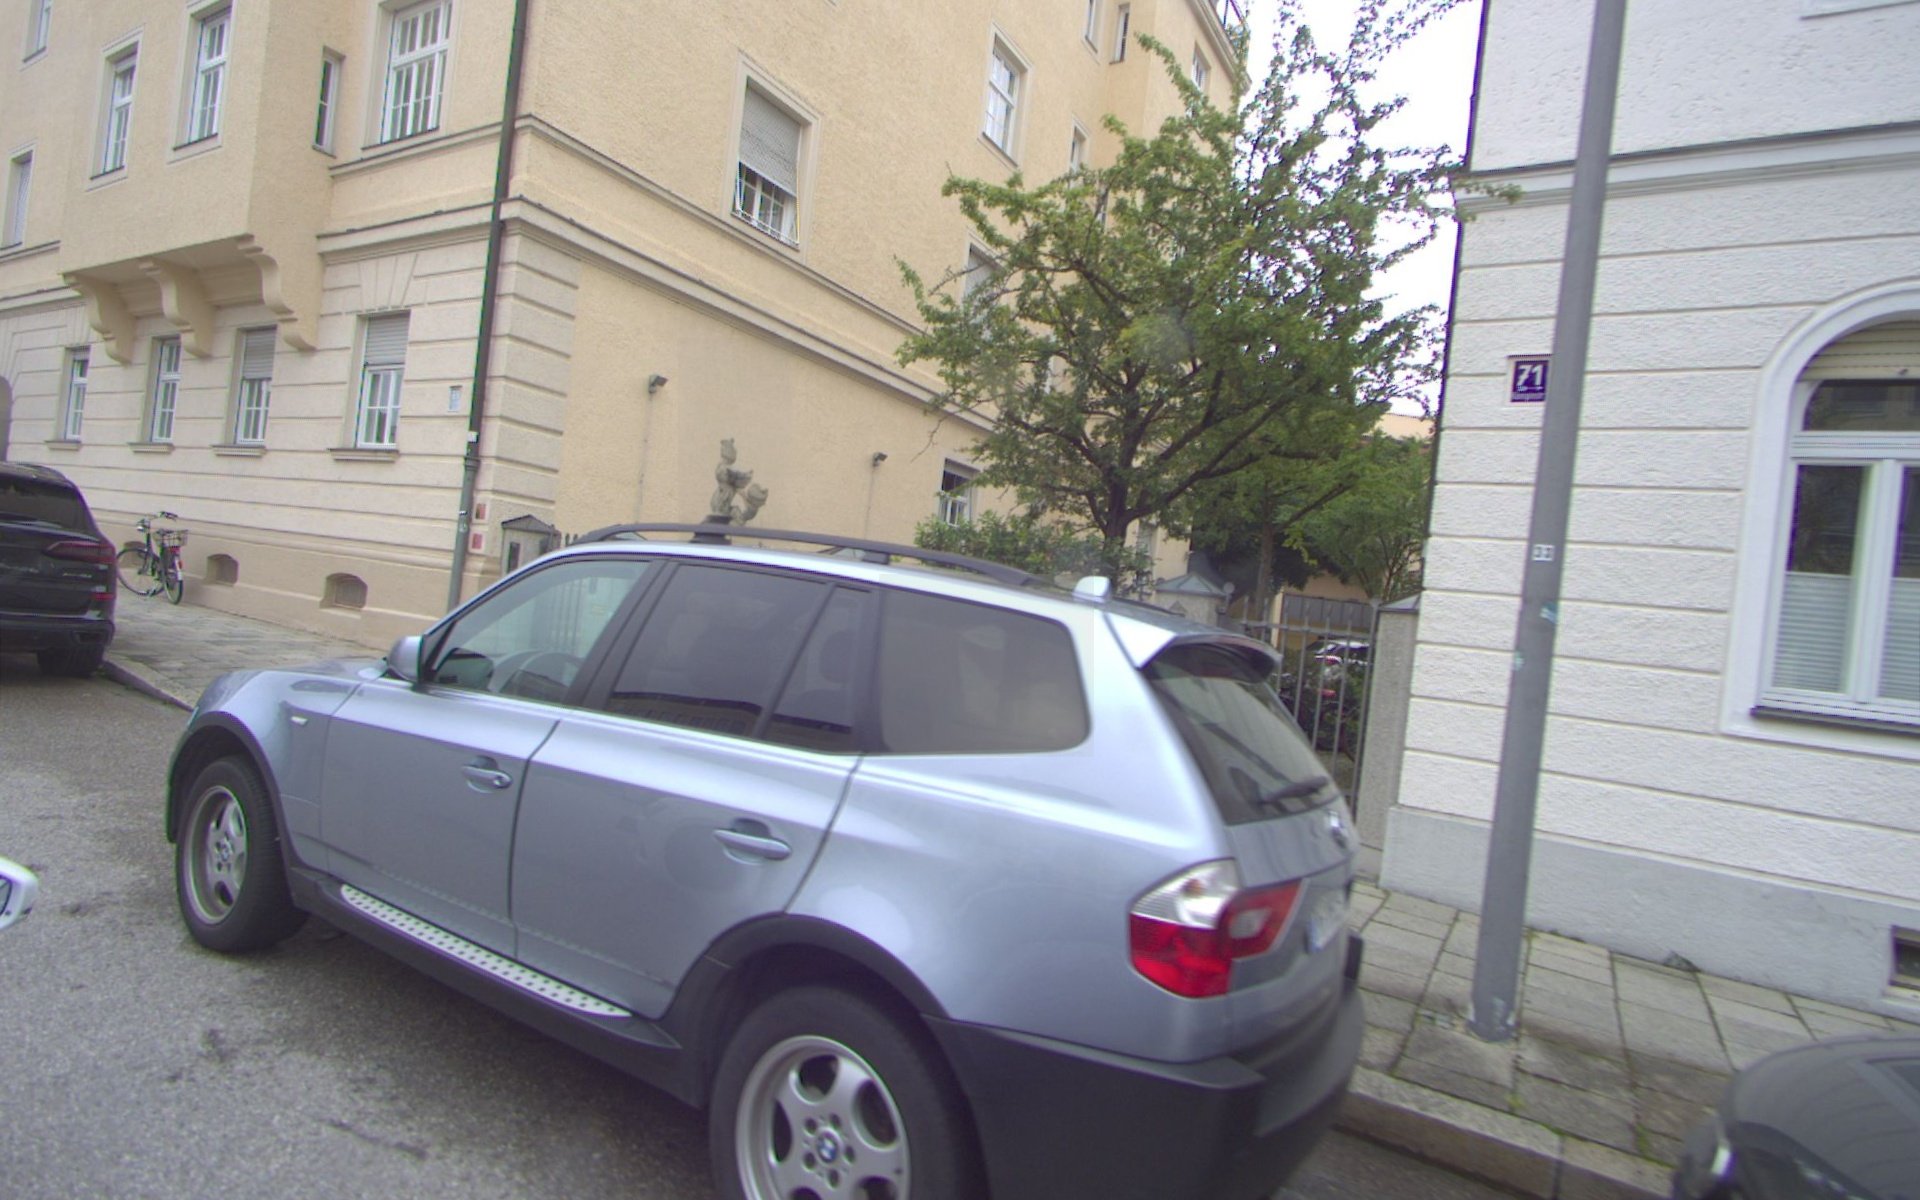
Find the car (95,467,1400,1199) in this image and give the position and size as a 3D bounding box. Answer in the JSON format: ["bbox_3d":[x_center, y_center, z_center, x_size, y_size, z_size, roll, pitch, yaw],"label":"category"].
[{"bbox_3d":[-1.019,0.581,3.546,4.383,1.654,1.725,7,-1,32],"label":"car"}]

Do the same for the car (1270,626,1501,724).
[{"bbox_3d":[9.171,1.601,21.839,4.168,1.534,1.780,6,1,-7],"label":"car"}]

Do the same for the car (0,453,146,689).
[{"bbox_3d":[-9.262,-0.461,8.709,4.785,1.737,1.872,7,-2,32],"label":"car"}]

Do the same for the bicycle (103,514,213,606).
[{"bbox_3d":[-11.330,-0.573,14.191,1.921,1.097,0.579,7,3,32],"label":"bicycle"}]

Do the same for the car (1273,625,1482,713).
[{"bbox_3d":[10.103,1.655,24.507,4.168,1.568,1.932,6,1,-7],"label":"car"}]

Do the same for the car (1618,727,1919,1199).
[{"bbox_3d":[3.139,1.192,0.970,4.019,1.445,1.681,7,-1,32],"label":"car"}]

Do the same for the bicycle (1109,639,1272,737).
[{"bbox_3d":[2.989,1.132,13.155,1.924,1.026,0.579,5,-2,37],"label":"bicycle"}]
